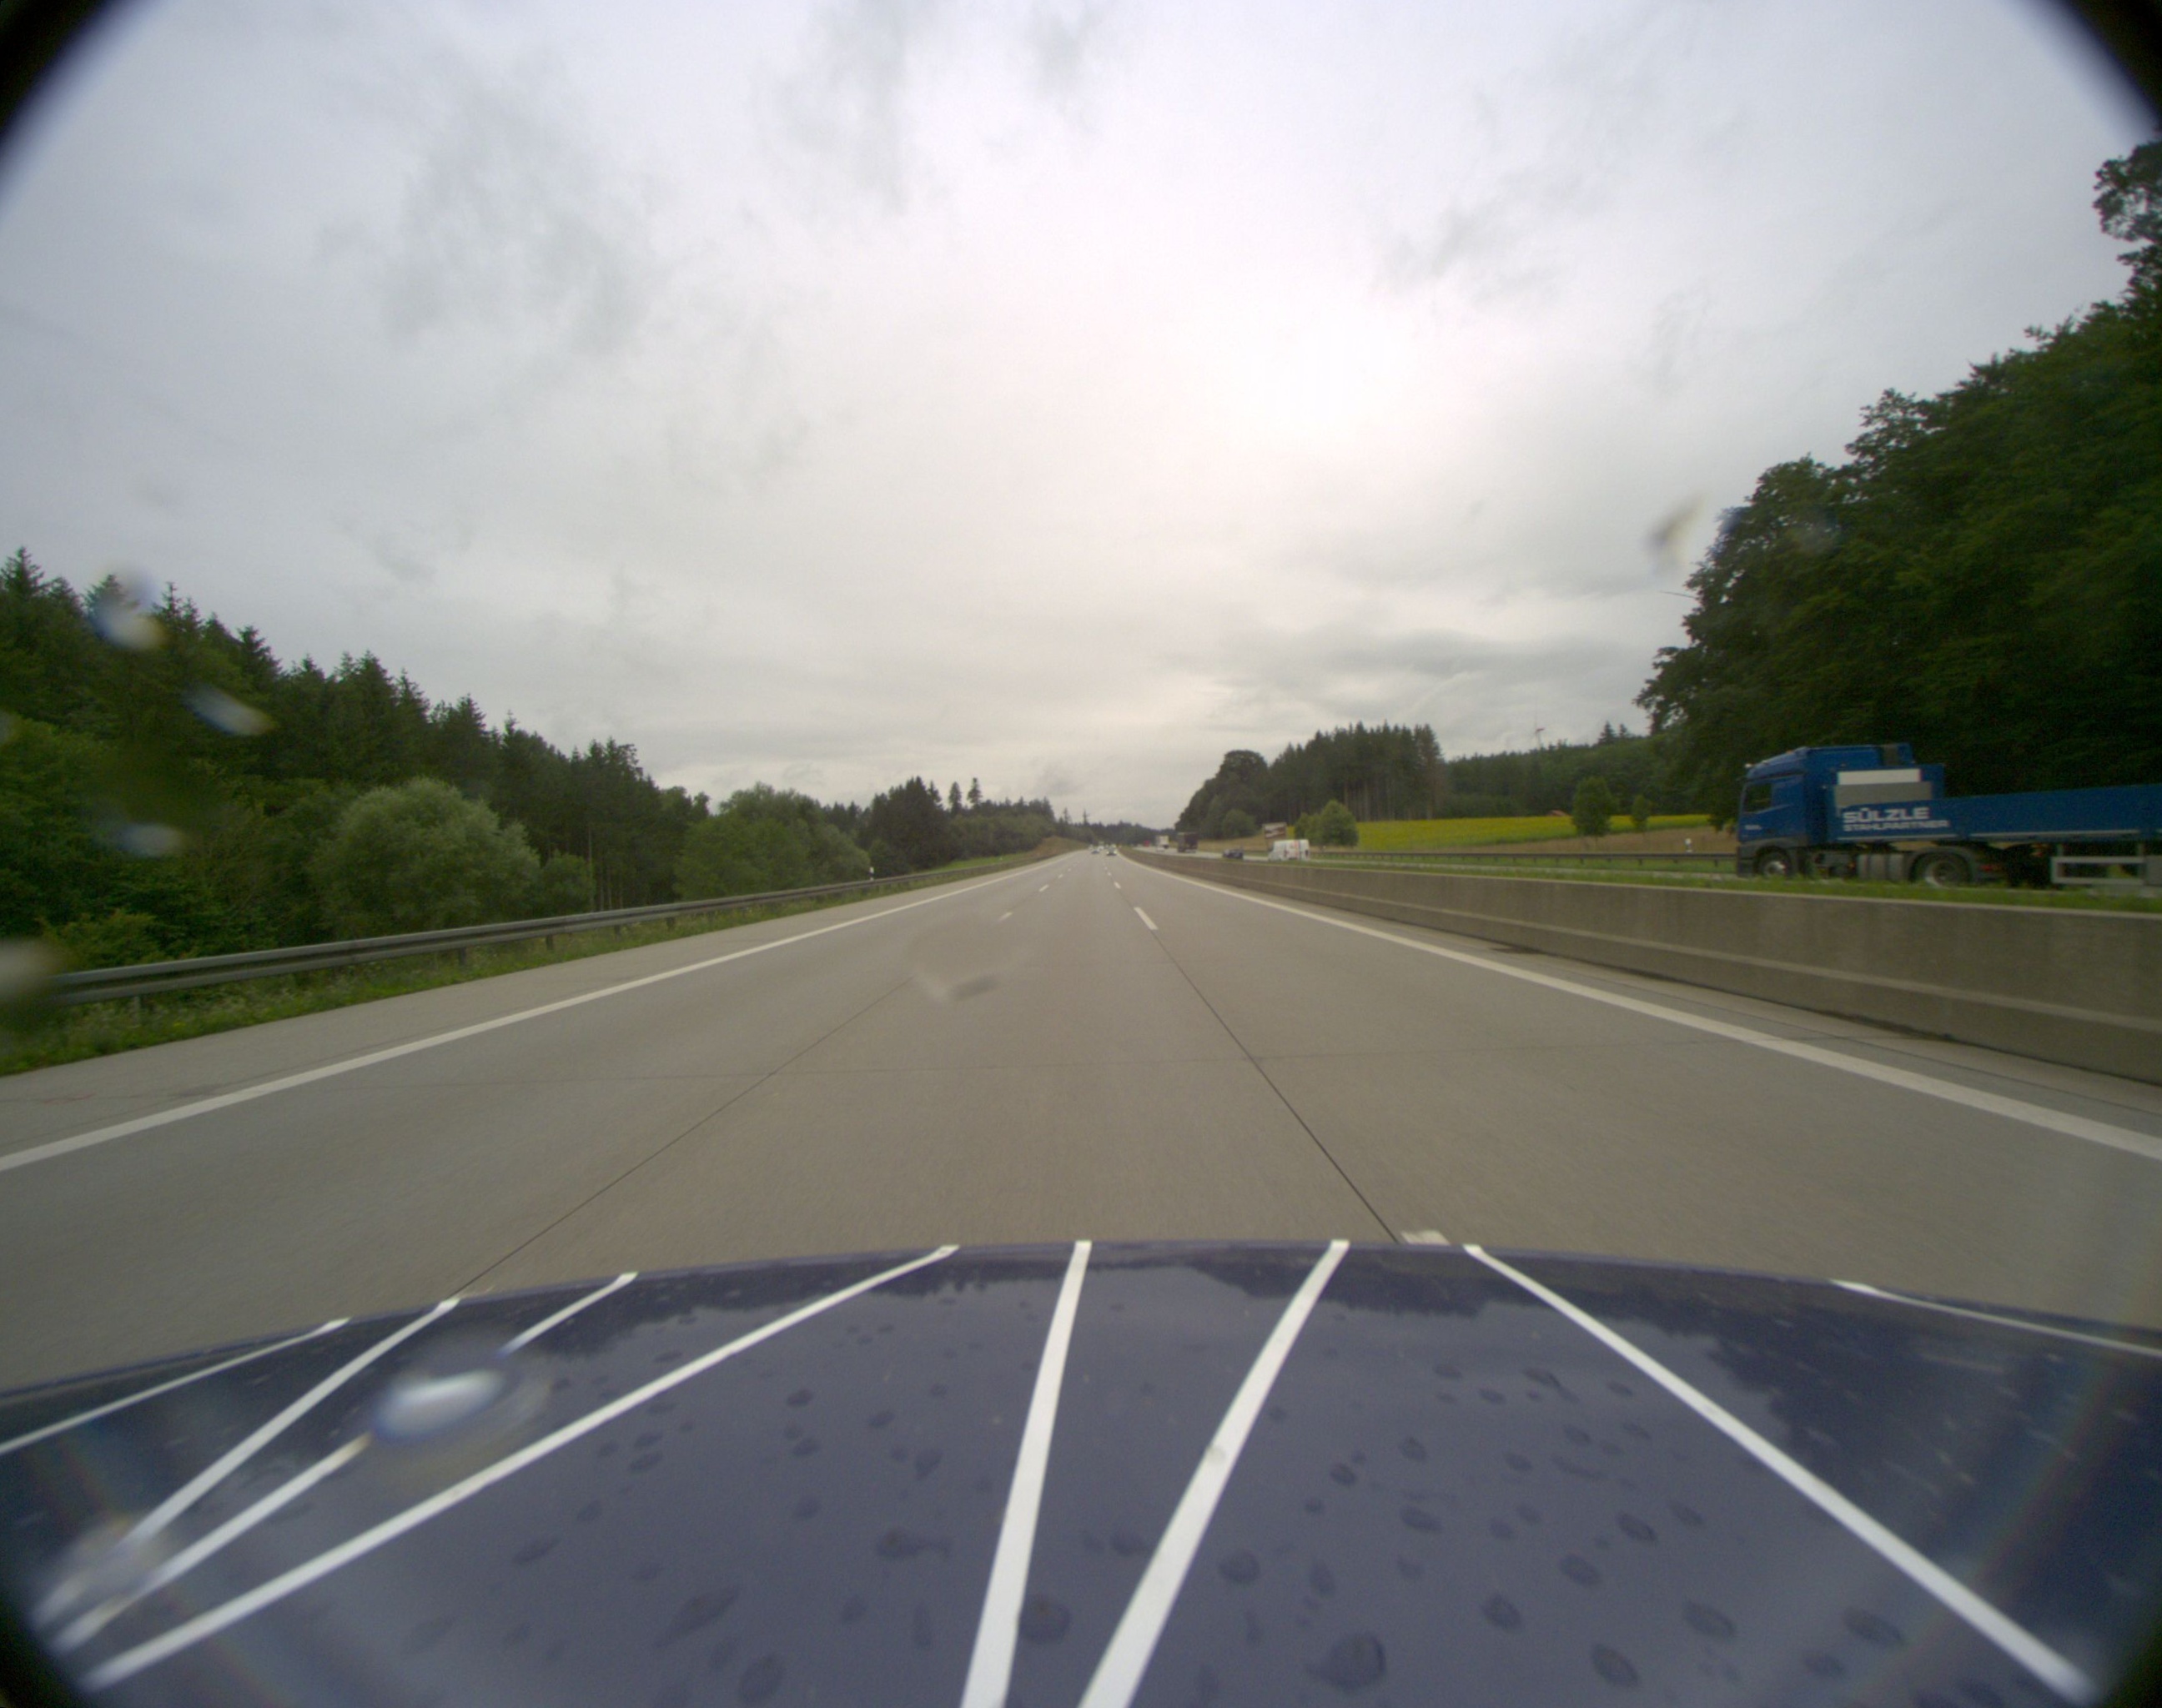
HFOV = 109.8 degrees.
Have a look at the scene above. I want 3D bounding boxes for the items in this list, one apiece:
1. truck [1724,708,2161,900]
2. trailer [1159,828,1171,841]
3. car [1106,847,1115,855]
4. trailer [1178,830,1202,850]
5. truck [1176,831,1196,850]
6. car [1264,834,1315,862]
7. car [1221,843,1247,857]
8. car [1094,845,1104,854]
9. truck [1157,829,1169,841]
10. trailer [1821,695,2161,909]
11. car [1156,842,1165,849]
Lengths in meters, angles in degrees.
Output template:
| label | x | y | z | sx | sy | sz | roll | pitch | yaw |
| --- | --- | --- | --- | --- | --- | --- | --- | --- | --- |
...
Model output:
| label | x | y | z | sx | sy | sz | roll | pitch | yaw |
| --- | --- | --- | --- | --- | --- | --- | --- | --- | --- |
| truck | 19.078 | -0.976 | 17.583 | 2.763 | 3.496 | 6.640 | -3 | 1 | 1 |
| trailer | 25.228 | -5.774 | 228.133 | 2.825 | 3.761 | 7.715 | -3 | 1 | 2 |
| car | 6.089 | -0.637 | 155.877 | 1.766 | 1.455 | 4.000 | -2 | 0 | 2 |
| trailer | 22.607 | -2.880 | 158.617 | 3.243 | 4.029 | 14.129 | -3 | 1 | 1 |
| truck | 22.728 | -2.916 | 164.590 | 3.220 | 4.034 | 7.165 | -3 | 1 | 1 |
| car | 14.652 | -0.444 | 53.816 | 2.093 | 1.791 | 5.496 | -3 | 1 | 1 |
| car | 16.658 | -0.477 | 83.057 | 1.852 | 1.368 | 4.436 | -3 | 1 | -1 |
| car | 4.352 | -1.178 | 185.286 | 2.213 | 2.002 | 4.834 | -3 | 0 | 0 |
| truck | 25.610 | -5.966 | 237.666 | 2.819 | 3.751 | 11.350 | -3 | 1 | 2 |
| trailer | 19.000 | -0.894 | 11.178 | 2.792 | 3.487 | 13.883 | -3 | 1 | 1 |
| car | 18.820 | -2.033 | 179.470 | 1.788 | 1.460 | 4.371 | -2 | 0 | 1 |
